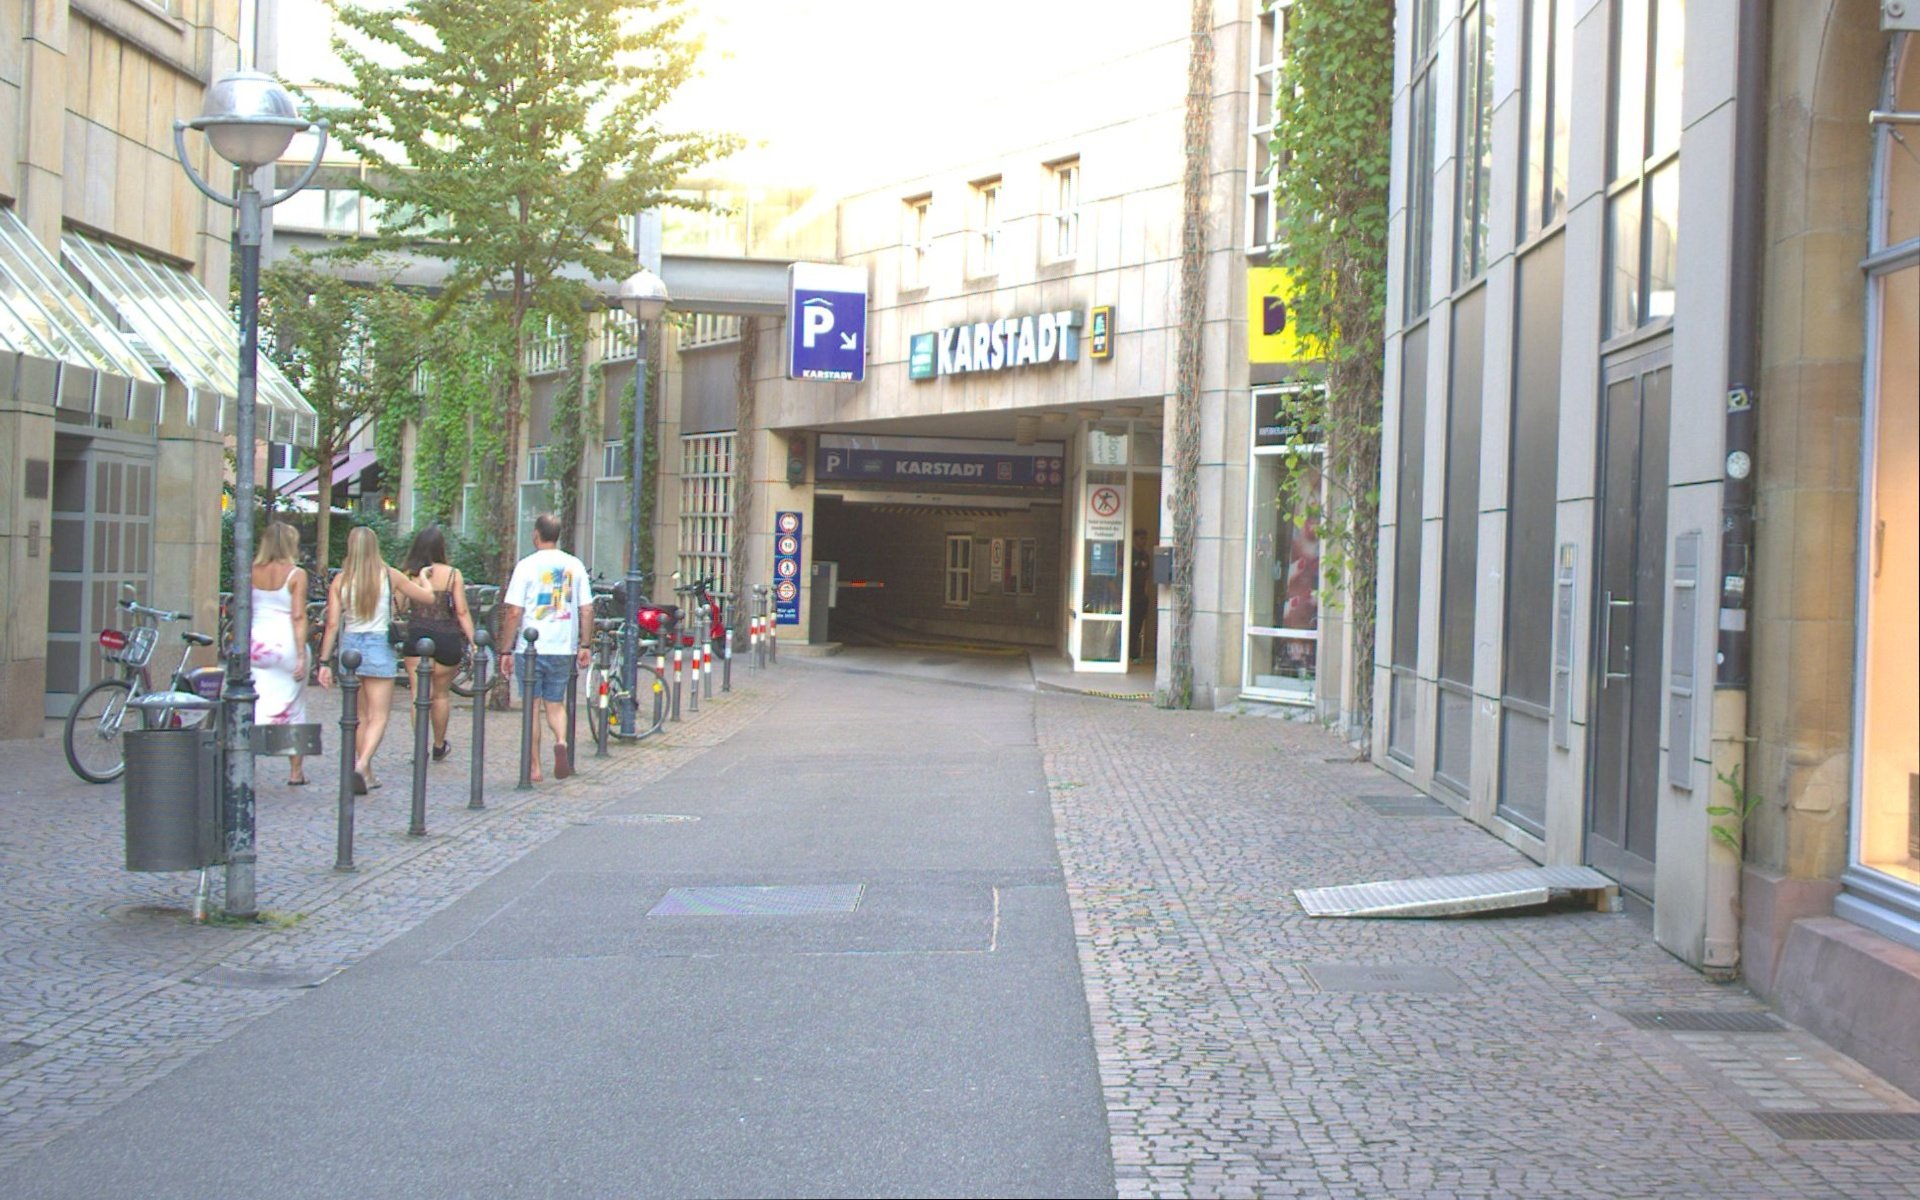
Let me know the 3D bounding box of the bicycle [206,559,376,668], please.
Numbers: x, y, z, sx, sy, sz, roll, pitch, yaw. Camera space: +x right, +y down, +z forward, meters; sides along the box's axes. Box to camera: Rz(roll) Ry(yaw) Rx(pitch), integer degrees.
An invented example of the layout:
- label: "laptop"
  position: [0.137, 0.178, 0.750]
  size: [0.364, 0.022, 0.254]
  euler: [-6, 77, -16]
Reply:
- label: "bicycle"
  position: [-7.698, 0.158, 39.565]
  size: [1.833, 1.221, 0.534]
  euler: [1, 1, -22]

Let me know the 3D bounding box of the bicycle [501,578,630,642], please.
- label: "bicycle"
  position: [-5.721, 0.147, 49.857]
  size: [1.773, 0.901, 0.464]
  euler: [1, 1, -20]

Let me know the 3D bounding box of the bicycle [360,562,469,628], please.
- label: "bicycle"
  position: [-9.513, -0.090, 59.950]
  size: [1.773, 1.110, 0.543]
  euler: [1, 1, -20]

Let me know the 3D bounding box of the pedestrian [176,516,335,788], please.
- label: "pedestrian"
  position: [-4.438, 0.317, 21.696]
  size: [0.675, 1.659, 0.860]
  euler: [2, 1, 9]

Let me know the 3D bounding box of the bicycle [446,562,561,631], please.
- label: "bicycle"
  position: [-7.524, -0.059, 56.645]
  size: [1.773, 1.110, 0.543]
  euler: [1, 1, -20]

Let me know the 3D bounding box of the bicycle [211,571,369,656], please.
- label: "bicycle"
  position: [-8.451, 0.169, 43.356]
  size: [1.876, 1.039, 0.534]
  euler: [1, 1, -22]

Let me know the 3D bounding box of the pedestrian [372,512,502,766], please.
- label: "pedestrian"
  position: [-3.794, 0.271, 24.913]
  size: [0.785, 1.789, 0.972]
  euler: [1, 1, -16]

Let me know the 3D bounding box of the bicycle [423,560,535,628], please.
- label: "bicycle"
  position: [-8.067, -0.100, 57.680]
  size: [1.773, 1.110, 0.543]
  euler: [1, 1, -20]

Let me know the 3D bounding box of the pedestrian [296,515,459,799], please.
- label: "pedestrian"
  position: [-3.657, 0.344, 21.643]
  size: [0.806, 1.723, 0.948]
  euler: [2, 1, 1]

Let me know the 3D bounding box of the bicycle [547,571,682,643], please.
- label: "bicycle"
  position: [-4.923, 0.102, 48.998]
  size: [1.847, 0.979, 0.464]
  euler: [1, 1, -20]

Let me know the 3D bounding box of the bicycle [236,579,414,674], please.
- label: "bicycle"
  position: [-7.182, 0.296, 38.888]
  size: [1.893, 1.048, 0.534]
  euler: [1, 1, -22]

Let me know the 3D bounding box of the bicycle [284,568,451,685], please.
- label: "bicycle"
  position: [-6.289, 0.283, 36.504]
  size: [1.653, 1.226, 0.534]
  euler: [1, 1, -22]

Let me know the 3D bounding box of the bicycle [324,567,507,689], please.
- label: "bicycle"
  position: [-5.574, 0.287, 35.219]
  size: [1.766, 1.226, 0.534]
  euler: [1, 1, -22]

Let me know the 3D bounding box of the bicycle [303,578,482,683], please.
- label: "bicycle"
  position: [-6.174, 0.330, 37.395]
  size: [1.836, 1.118, 0.534]
  euler: [1, 1, -22]

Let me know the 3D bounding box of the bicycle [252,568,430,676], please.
- label: "bicycle"
  position: [-6.901, 0.244, 38.355]
  size: [1.872, 1.173, 0.534]
  euler: [1, 1, -22]

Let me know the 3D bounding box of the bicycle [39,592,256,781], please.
- label: "bicycle"
  position: [-5.164, 0.528, 21.957]
  size: [0.522, 1.134, 1.763]
  euler: [1, 1, 17]

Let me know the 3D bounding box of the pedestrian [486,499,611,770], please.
- label: "pedestrian"
  position: [-2.839, 0.227, 23.664]
  size: [0.742, 1.816, 0.878]
  euler: [1, 1, -12]

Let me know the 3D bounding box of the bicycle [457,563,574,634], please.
- label: "bicycle"
  position: [-7.162, -0.022, 55.440]
  size: [1.773, 1.110, 0.543]
  euler: [1, 1, -20]

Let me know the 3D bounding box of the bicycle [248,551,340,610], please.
- label: "bicycle"
  position: [-13.752, -0.403, 70.952]
  size: [1.773, 1.186, 0.586]
  euler: [1, 1, -20]

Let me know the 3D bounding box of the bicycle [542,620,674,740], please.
- label: "bicycle"
  position: [-2.932, 0.654, 28.753]
  size: [0.493, 0.935, 1.658]
  euler: [3, 1, 15]

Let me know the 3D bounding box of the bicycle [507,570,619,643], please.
- label: "bicycle"
  position: [-5.866, 0.095, 50.808]
  size: [1.539, 1.045, 0.575]
  euler: [1, 1, -20]

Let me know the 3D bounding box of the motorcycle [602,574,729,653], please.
- label: "motorcycle"
  position: [-4.054, 0.184, 47.365]
  size: [1.662, 1.047, 0.464]
  euler: [1, 1, -20]
